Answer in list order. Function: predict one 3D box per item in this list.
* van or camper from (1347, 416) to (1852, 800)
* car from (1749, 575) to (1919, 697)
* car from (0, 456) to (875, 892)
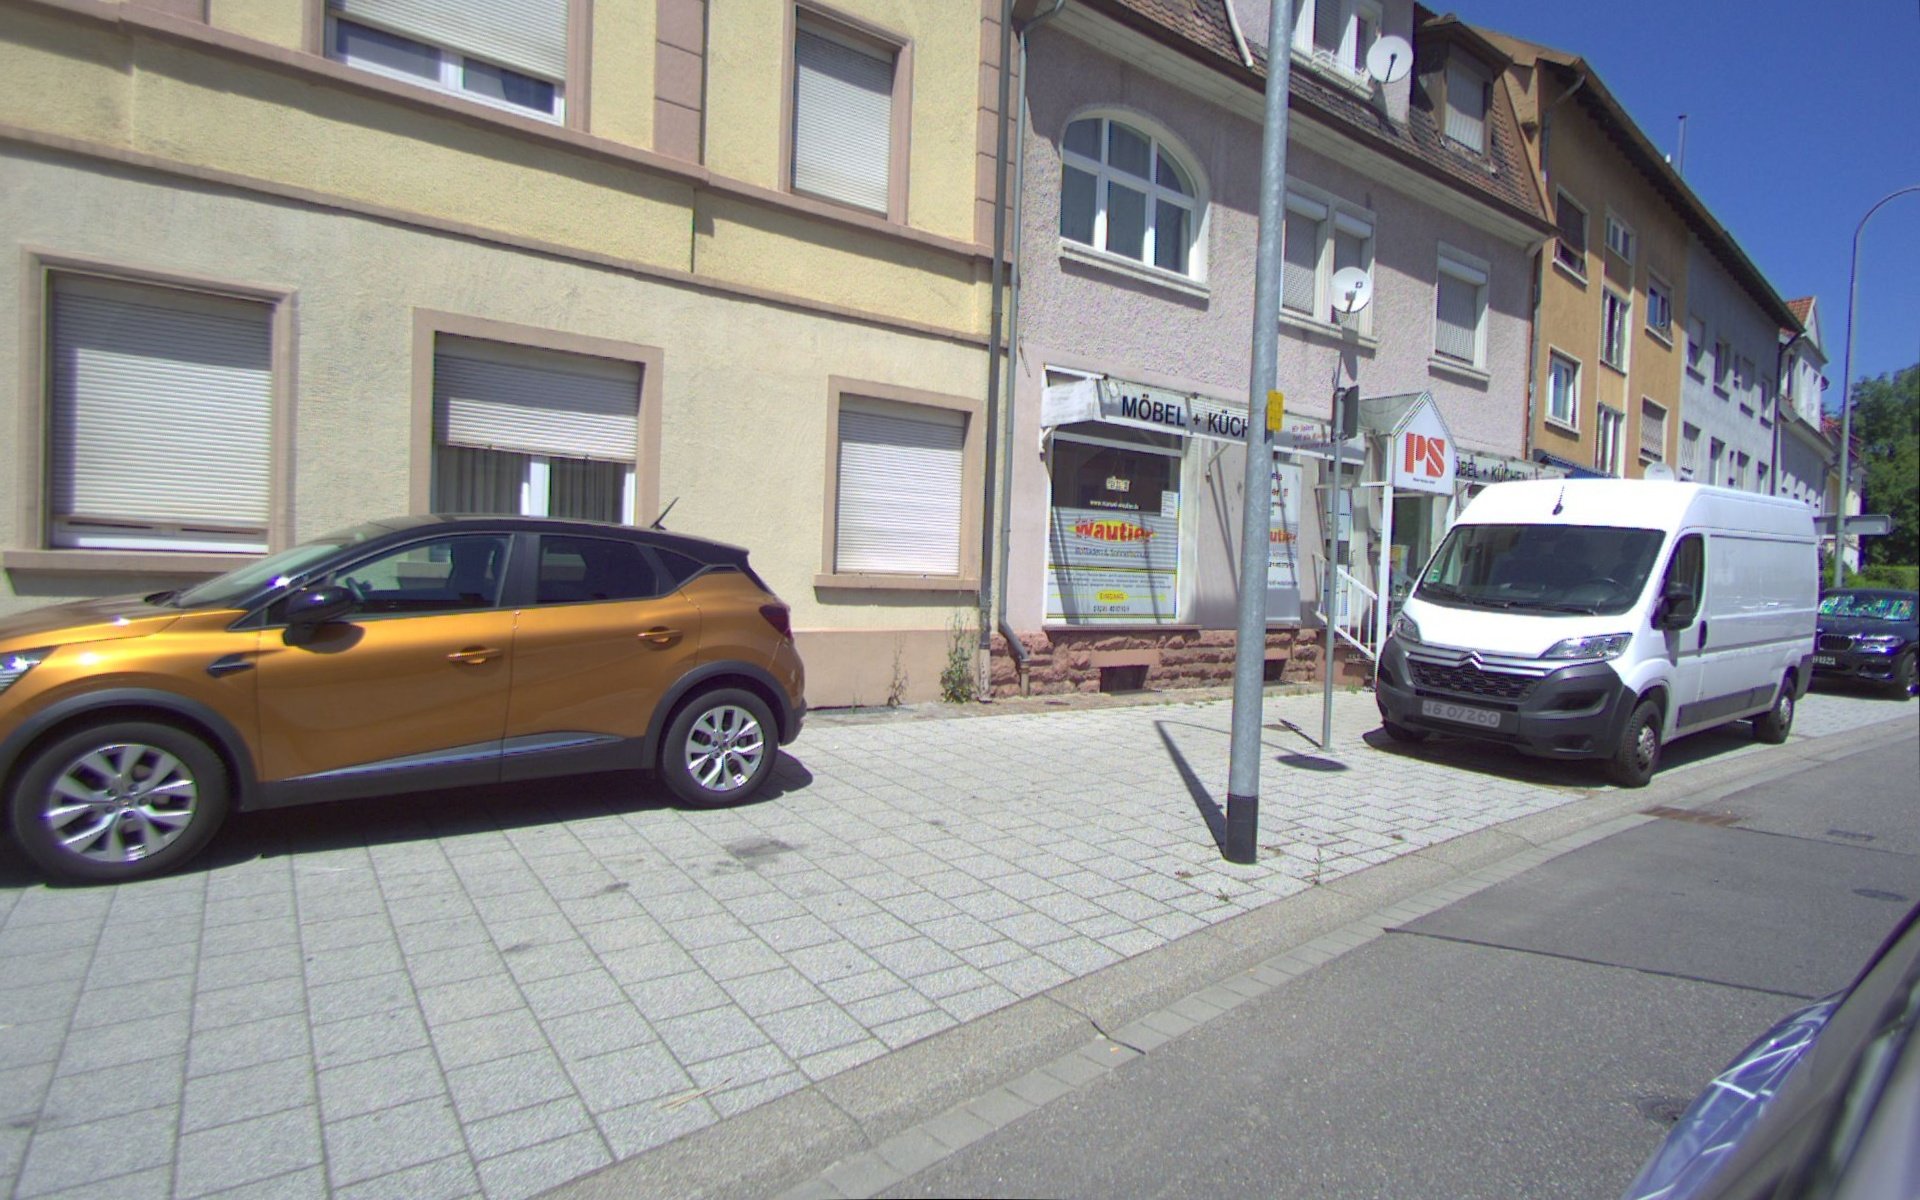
[{"bbox_3d":[6.234,-0.006,9.521,5.661,2.620,2.171,0,3,-39],"label":"van or camper"},{"bbox_3d":[14.729,0.484,16.145,4.278,1.626,1.904,0,4,-31],"label":"car"},{"bbox_3d":[-2.747,0.217,5.473,4.282,1.639,1.679,0,4,-37],"label":"car"}]
